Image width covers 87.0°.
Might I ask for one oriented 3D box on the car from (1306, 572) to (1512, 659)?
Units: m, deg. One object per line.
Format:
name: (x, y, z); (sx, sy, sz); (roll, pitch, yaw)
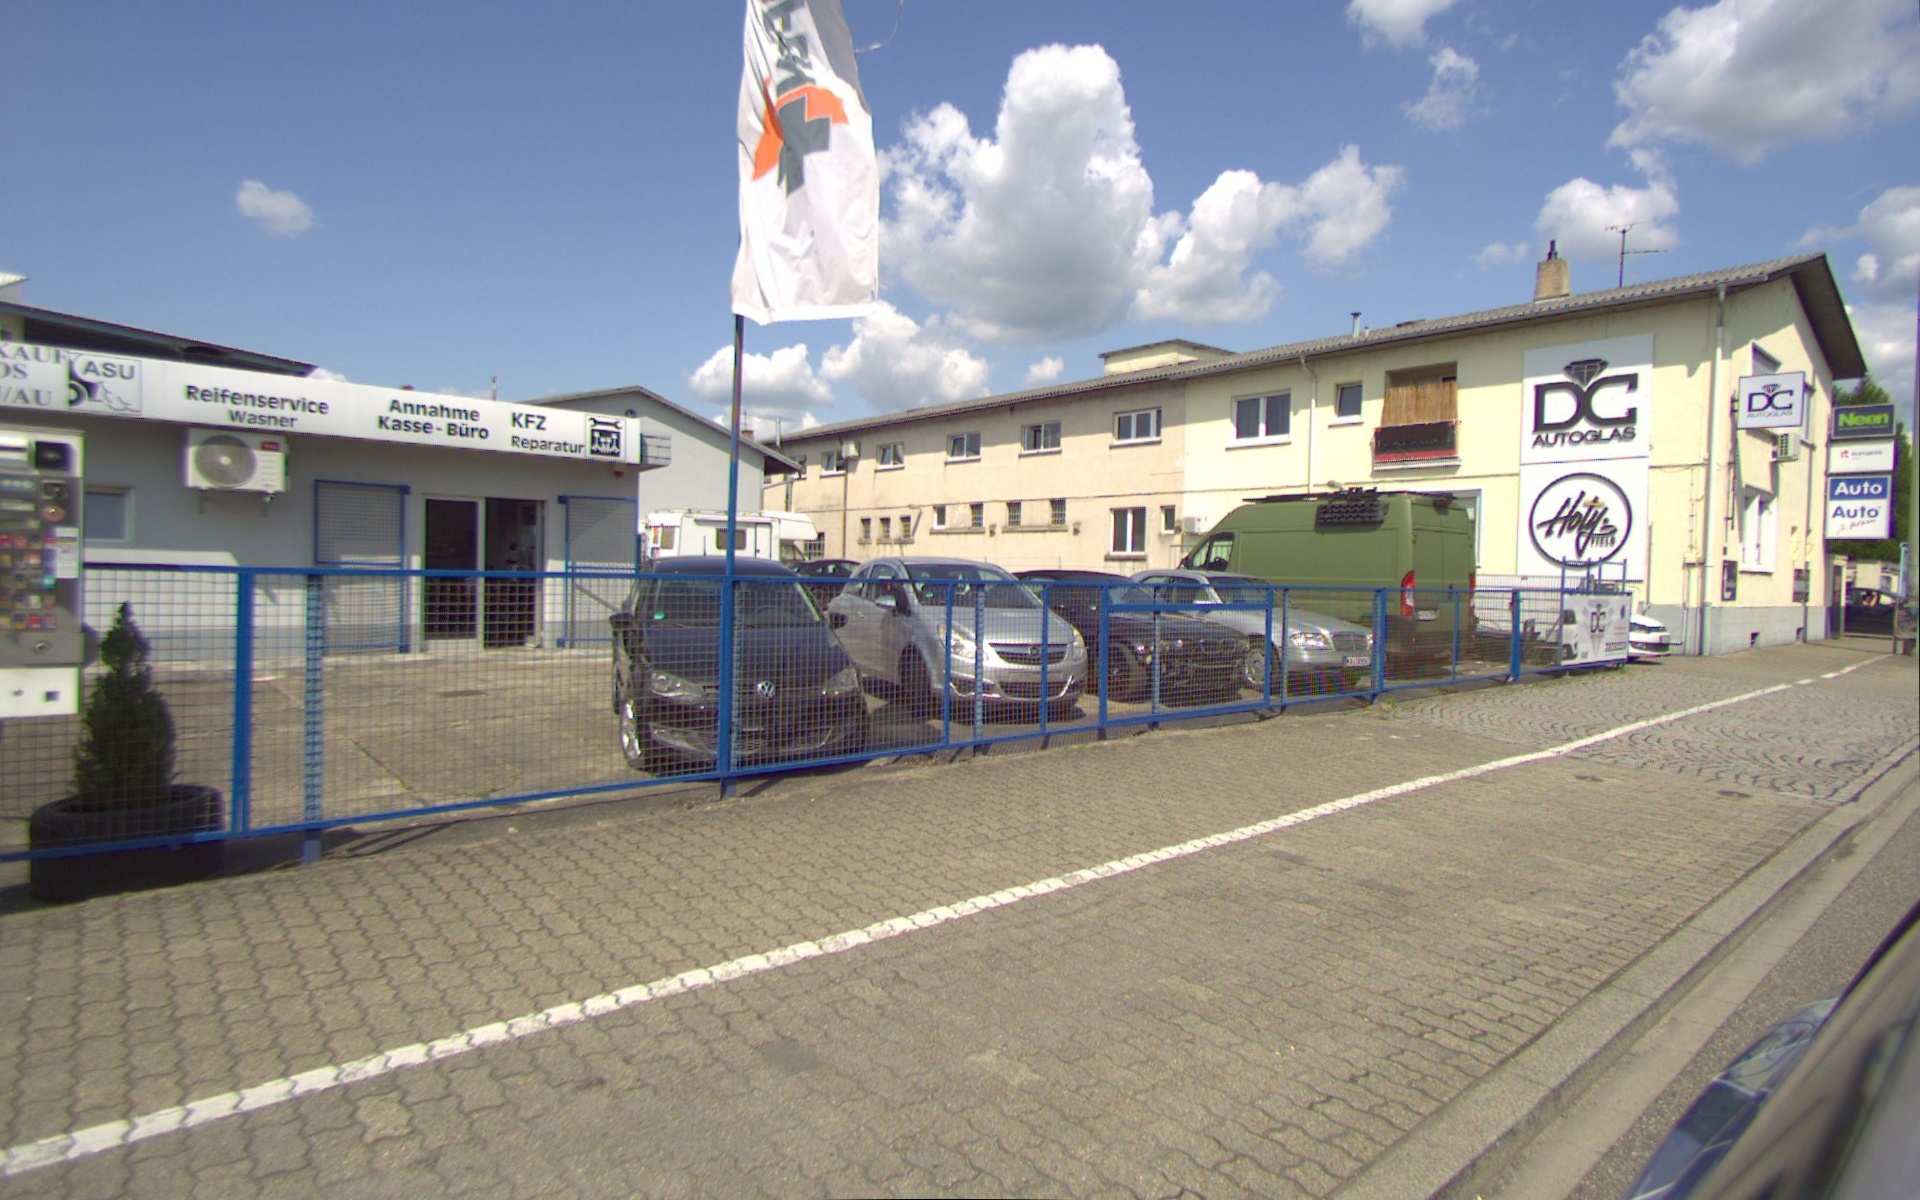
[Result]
car: (7.836, 0.210, 17.834); (1.309, 1.290, 3.034); (-1, 4, -39)

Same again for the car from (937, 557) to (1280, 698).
car: (1.567, 0.220, 12.194); (1.707, 1.391, 4.265); (-1, 1, -33)

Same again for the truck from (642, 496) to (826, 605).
truck: (-6.794, -1.483, 30.734); (4.999, 3.045, 2.158); (-1, 4, -41)

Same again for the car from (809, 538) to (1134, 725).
car: (-0.137, 0.226, 10.572); (1.789, 1.524, 4.271); (-1, 1, -24)

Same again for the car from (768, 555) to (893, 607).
car: (-3.640, -0.544, 28.741); (3.268, 1.396, 1.425); (-1, 1, -40)

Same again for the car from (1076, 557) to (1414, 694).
car: (3.602, 0.259, 13.563); (1.792, 1.527, 4.266); (-1, 1, -32)

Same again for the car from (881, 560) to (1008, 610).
car: (-0.391, -0.413, 27.153); (3.218, 1.278, 1.452); (-1, 1, -40)

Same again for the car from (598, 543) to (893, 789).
car: (-1.961, 0.292, 8.243); (1.592, 1.480, 3.919); (-1, 3, -24)

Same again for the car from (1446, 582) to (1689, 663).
car: (11.538, 0.375, 19.430); (1.490, 1.375, 3.728); (-1, 1, -36)

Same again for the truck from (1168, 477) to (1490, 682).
truck: (5.517, -0.297, 15.561); (2.071, 2.694, 4.180); (-1, 1, -39)
